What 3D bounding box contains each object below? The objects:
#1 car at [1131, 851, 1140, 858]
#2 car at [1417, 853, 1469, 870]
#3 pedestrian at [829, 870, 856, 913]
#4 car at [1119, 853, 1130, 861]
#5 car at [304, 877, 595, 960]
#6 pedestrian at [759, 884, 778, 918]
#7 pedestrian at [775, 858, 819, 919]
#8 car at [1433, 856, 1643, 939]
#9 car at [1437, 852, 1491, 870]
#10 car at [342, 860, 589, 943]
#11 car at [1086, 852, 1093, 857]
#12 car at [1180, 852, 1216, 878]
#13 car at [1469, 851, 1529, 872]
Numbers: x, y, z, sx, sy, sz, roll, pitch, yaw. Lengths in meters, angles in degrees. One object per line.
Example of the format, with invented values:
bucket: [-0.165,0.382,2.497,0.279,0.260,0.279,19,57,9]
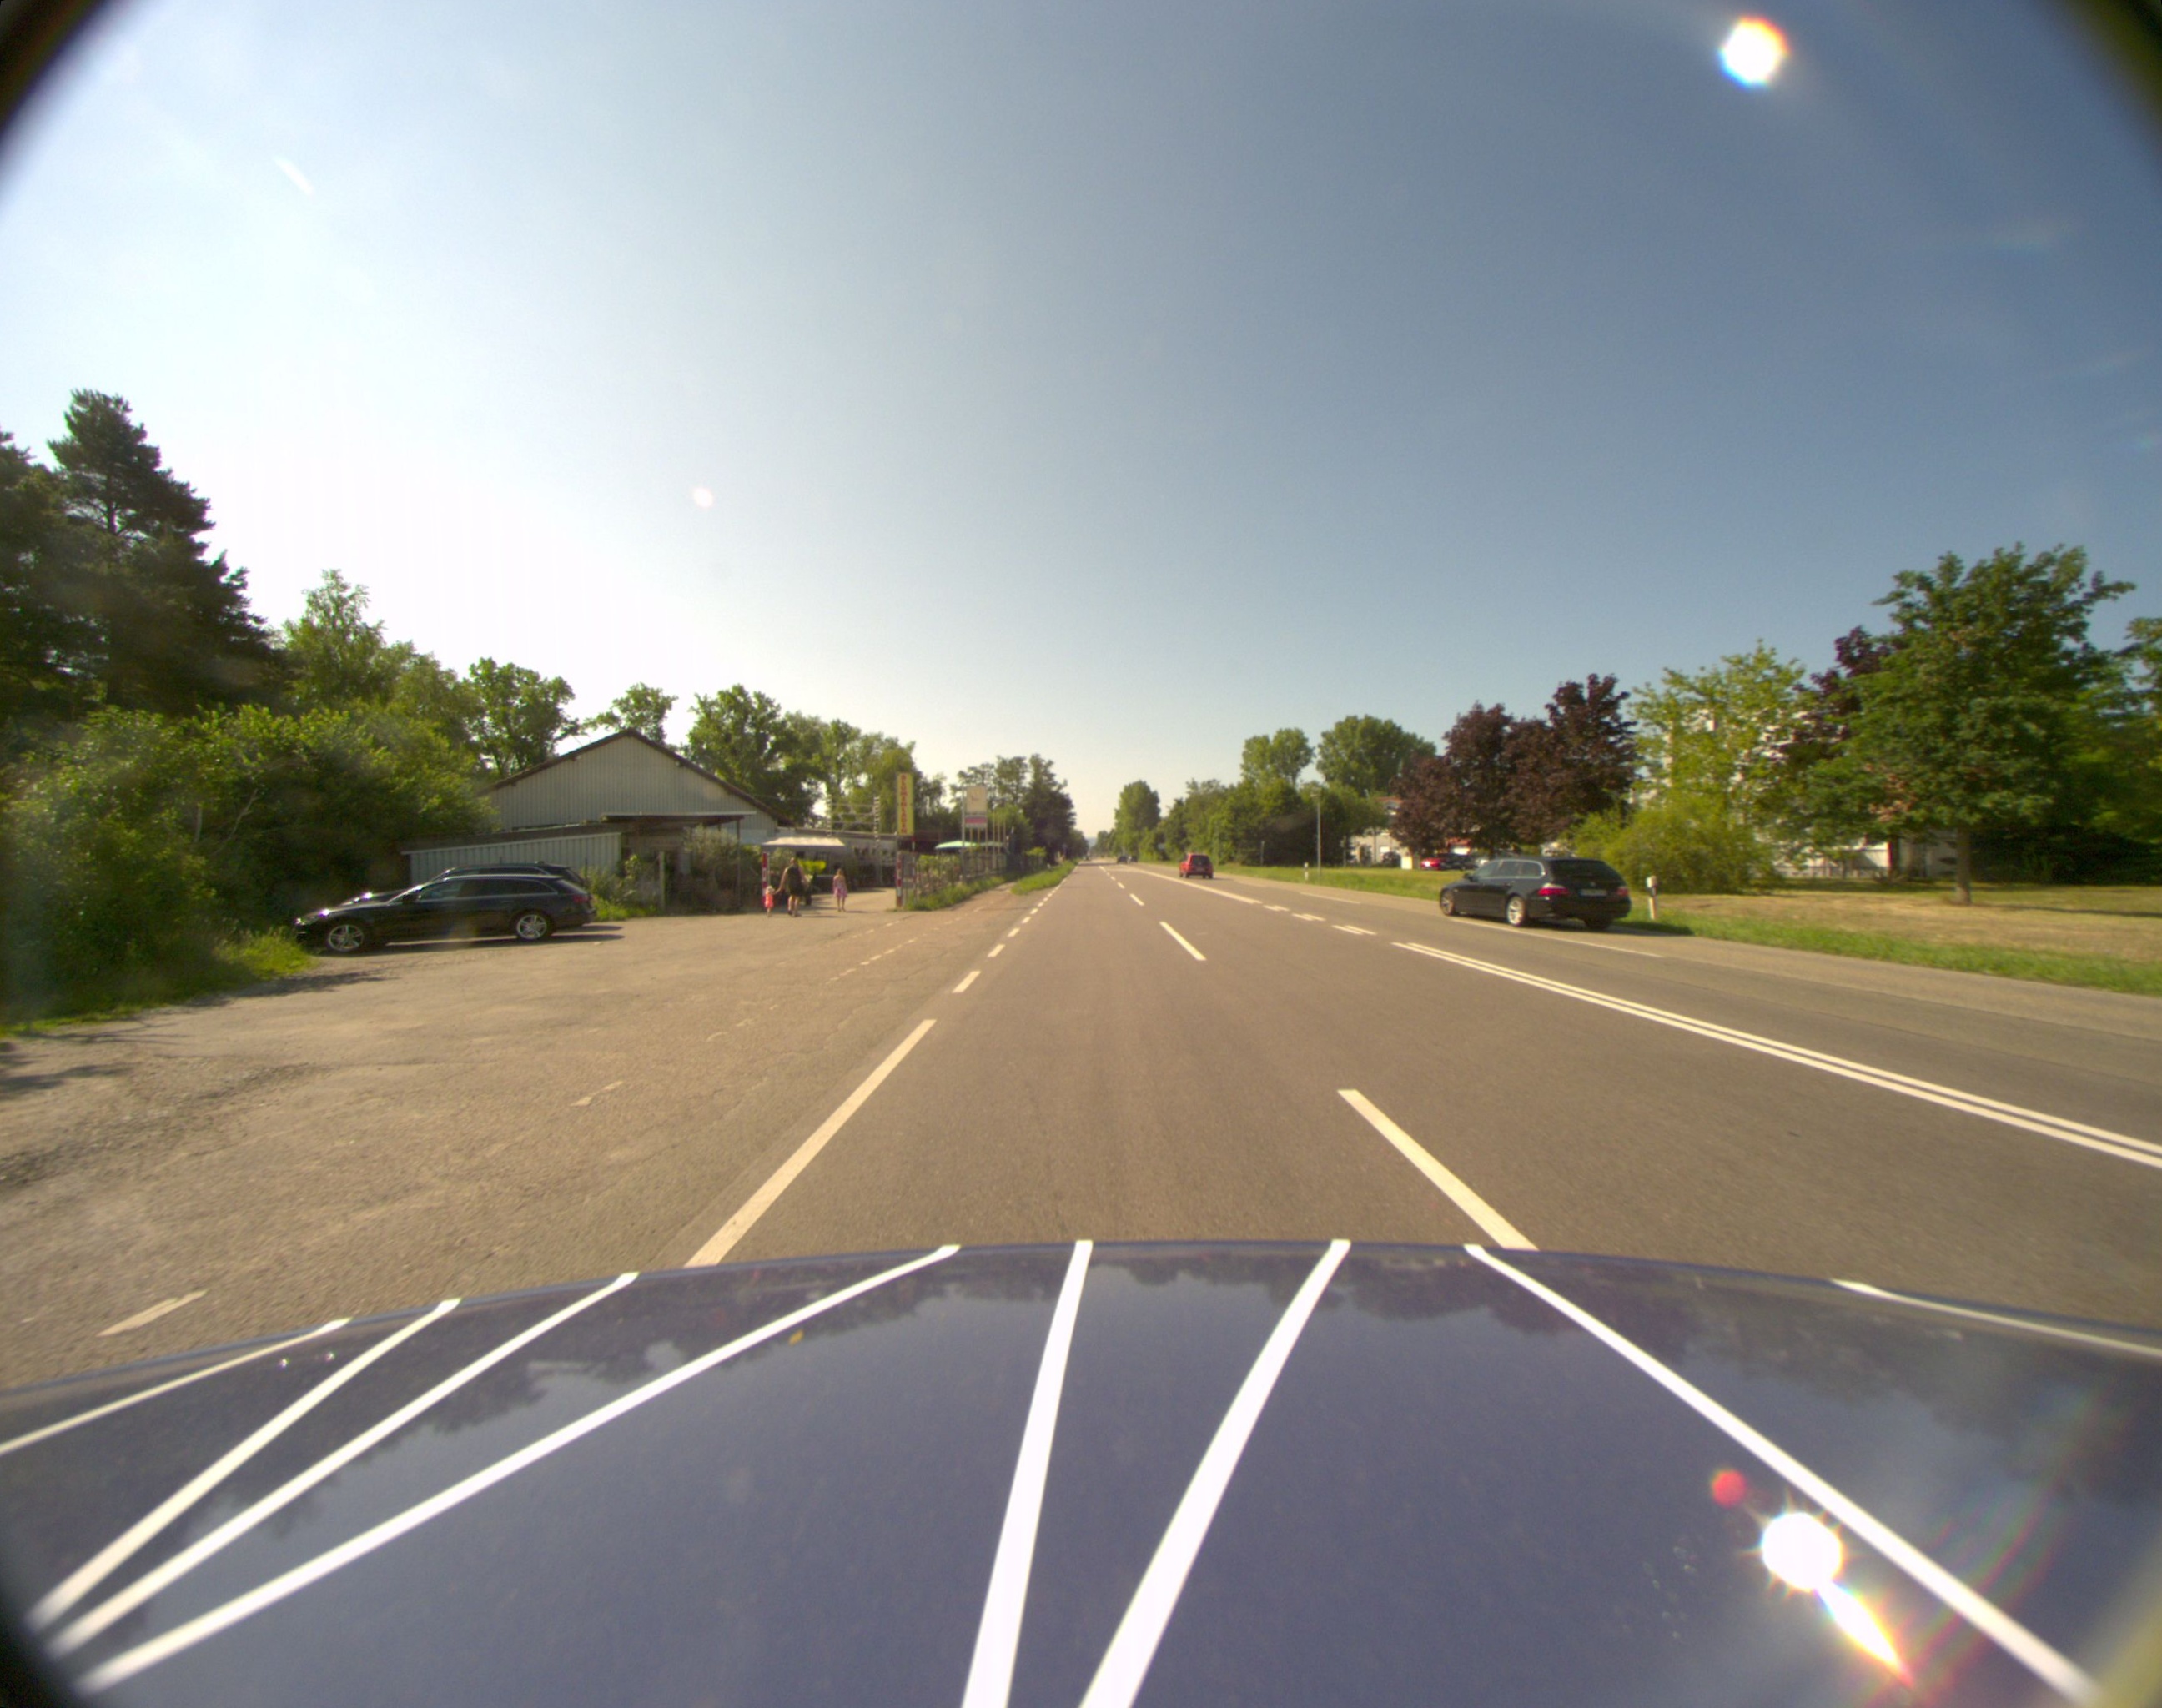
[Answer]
car: [11.029,0.156,154.203,1.768,1.403,4.001,0,-1,1]
car: [29.266,0.620,61.328,4.006,1.362,1.818,0,-1,-29]
pedestrian: [-7.683,1.185,24.492,0.725,1.330,0.825,-1,1,-12]
car: [7.899,0.507,138.040,1.768,1.403,4.174,0,-1,1]
car: [-13.034,1.265,16.107,4.470,1.422,1.711,-1,0,-28]
pedestrian: [-9.339,1.396,22.710,0.470,0.978,0.338,-1,1,-12]
pedestrian: [-8.528,1.010,22.876,1.100,1.775,0.935,-1,1,-12]
car: [9.561,0.812,16.439,1.656,1.472,4.740,2,0,0]
car: [29.473,0.566,58.460,4.006,1.362,1.818,0,-1,-29]
car: [-14.960,1.084,18.851,4.470,1.792,1.860,-1,0,-28]
car: [2.333,0.177,198.113,1.768,1.403,4.001,0,-1,1]
car: [7.196,0.618,47.018,1.654,1.489,3.844,2,0,0]
car: [29.082,0.527,52.882,4.006,1.362,1.818,0,-1,-29]
